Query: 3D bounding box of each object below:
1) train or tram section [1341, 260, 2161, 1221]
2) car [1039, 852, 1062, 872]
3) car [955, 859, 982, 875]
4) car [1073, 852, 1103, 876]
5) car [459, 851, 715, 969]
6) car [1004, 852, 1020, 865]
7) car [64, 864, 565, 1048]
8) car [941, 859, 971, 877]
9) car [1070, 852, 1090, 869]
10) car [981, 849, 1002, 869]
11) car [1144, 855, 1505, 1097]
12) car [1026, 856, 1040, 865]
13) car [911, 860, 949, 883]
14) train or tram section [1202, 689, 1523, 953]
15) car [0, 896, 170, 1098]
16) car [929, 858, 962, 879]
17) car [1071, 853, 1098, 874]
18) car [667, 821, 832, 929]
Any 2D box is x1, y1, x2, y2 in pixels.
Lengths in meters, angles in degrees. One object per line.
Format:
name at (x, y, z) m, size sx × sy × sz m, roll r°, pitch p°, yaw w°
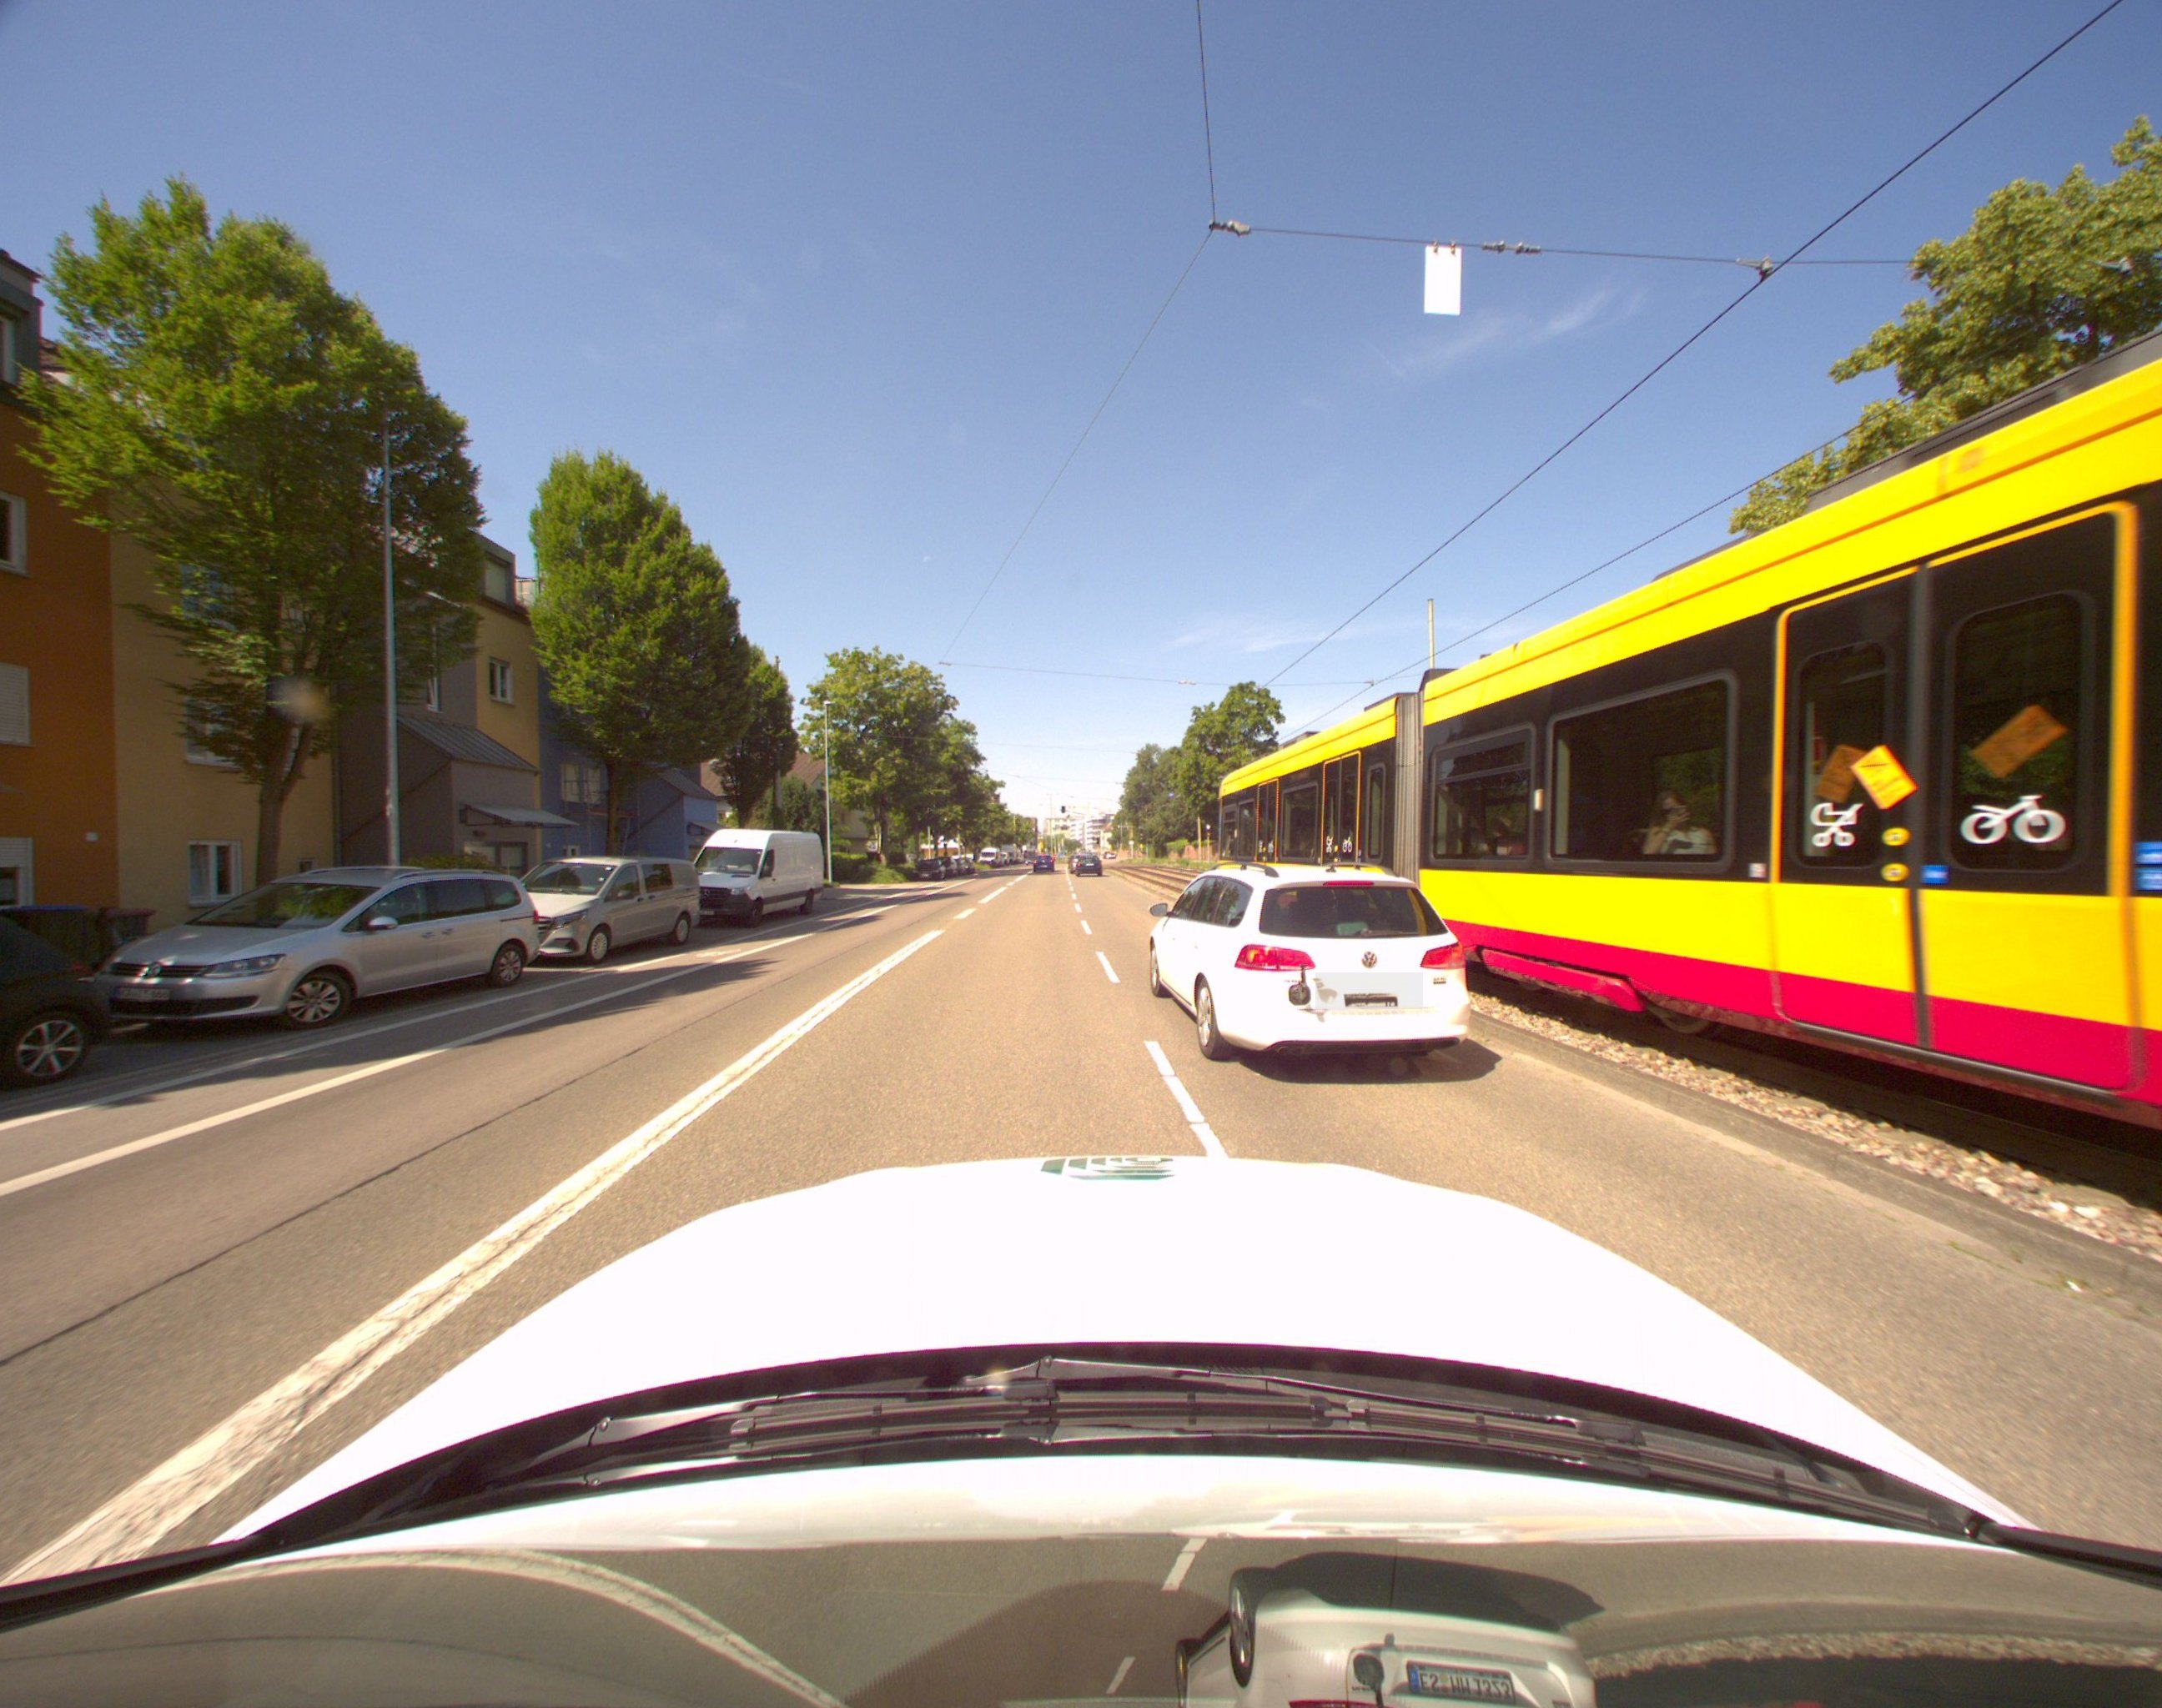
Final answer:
train or tram section at (5.382, -0.458, 5.259) m, size 2.505 × 3.747 × 13.296 m, roll -2°, pitch 0°, yaw -3°
car at (-2.505, 0.658, 67.288) m, size 1.796 × 1.507 × 3.997 m, roll 0°, pitch 1°, yaw -2°
car at (-10.043, 1.127, 73.205) m, size 1.693 × 1.352 × 4.002 m, roll -2°, pitch 0°, yaw 2°
car at (0.444, 0.627, 53.363) m, size 1.796 × 1.507 × 3.997 m, roll 0°, pitch 0°, yaw -2°
car at (-9.461, 0.949, 16.309) m, size 1.914 × 1.948 × 5.350 m, roll 1°, pitch 0°, yaw -2°
car at (-10.310, 0.718, 122.410) m, size 1.819 × 1.867 × 4.727 m, roll -2°, pitch 0°, yaw 2°
car at (-9.133, 1.039, 10.510) m, size 1.795 × 1.724 × 4.907 m, roll 1°, pitch 0°, yaw -1°
car at (-10.413, 1.134, 67.892) m, size 1.693 × 1.352 × 4.002 m, roll -2°, pitch 0°, yaw 2°
car at (-0.117, 0.595, 77.744) m, size 1.796 × 1.460 × 3.997 m, roll -2°, pitch 0°, yaw -2°
car at (-11.153, 0.570, 102.111) m, size 1.873 × 2.415 × 5.118 m, roll -2°, pitch 0°, yaw 2°
car at (1.714, 0.758, 7.344) m, size 1.688 × 1.451 × 4.453 m, roll -1°, pitch 0°, yaw -3°
car at (-6.972, 0.909, 119.316) m, size 1.694 × 1.273 × 4.000 m, roll -2°, pitch 0°, yaw 0°
car at (-10.142, 1.166, 55.002) m, size 1.693 × 1.417 × 4.002 m, roll -2°, pitch 0°, yaw 2°
train or tram section at (5.043, -0.496, 18.387) m, size 2.503 × 3.747 × 13.307 m, roll -2°, pitch 0°, yaw 0°
car at (-9.120, 1.125, 5.412) m, size 1.687 × 1.474 × 4.043 m, roll 1°, pitch 0°, yaw -4°
car at (-10.354, 1.056, 62.478) m, size 1.693 × 1.482 × 4.002 m, roll -2°, pitch 0°, yaw 2°
car at (0.236, 0.679, 60.572) m, size 1.796 × 1.460 × 3.997 m, roll 0°, pitch 0°, yaw -2°
car at (-9.560, 0.549, 24.405) m, size 1.988 × 2.714 × 7.154 m, roll 1°, pitch 0°, yaw 0°
